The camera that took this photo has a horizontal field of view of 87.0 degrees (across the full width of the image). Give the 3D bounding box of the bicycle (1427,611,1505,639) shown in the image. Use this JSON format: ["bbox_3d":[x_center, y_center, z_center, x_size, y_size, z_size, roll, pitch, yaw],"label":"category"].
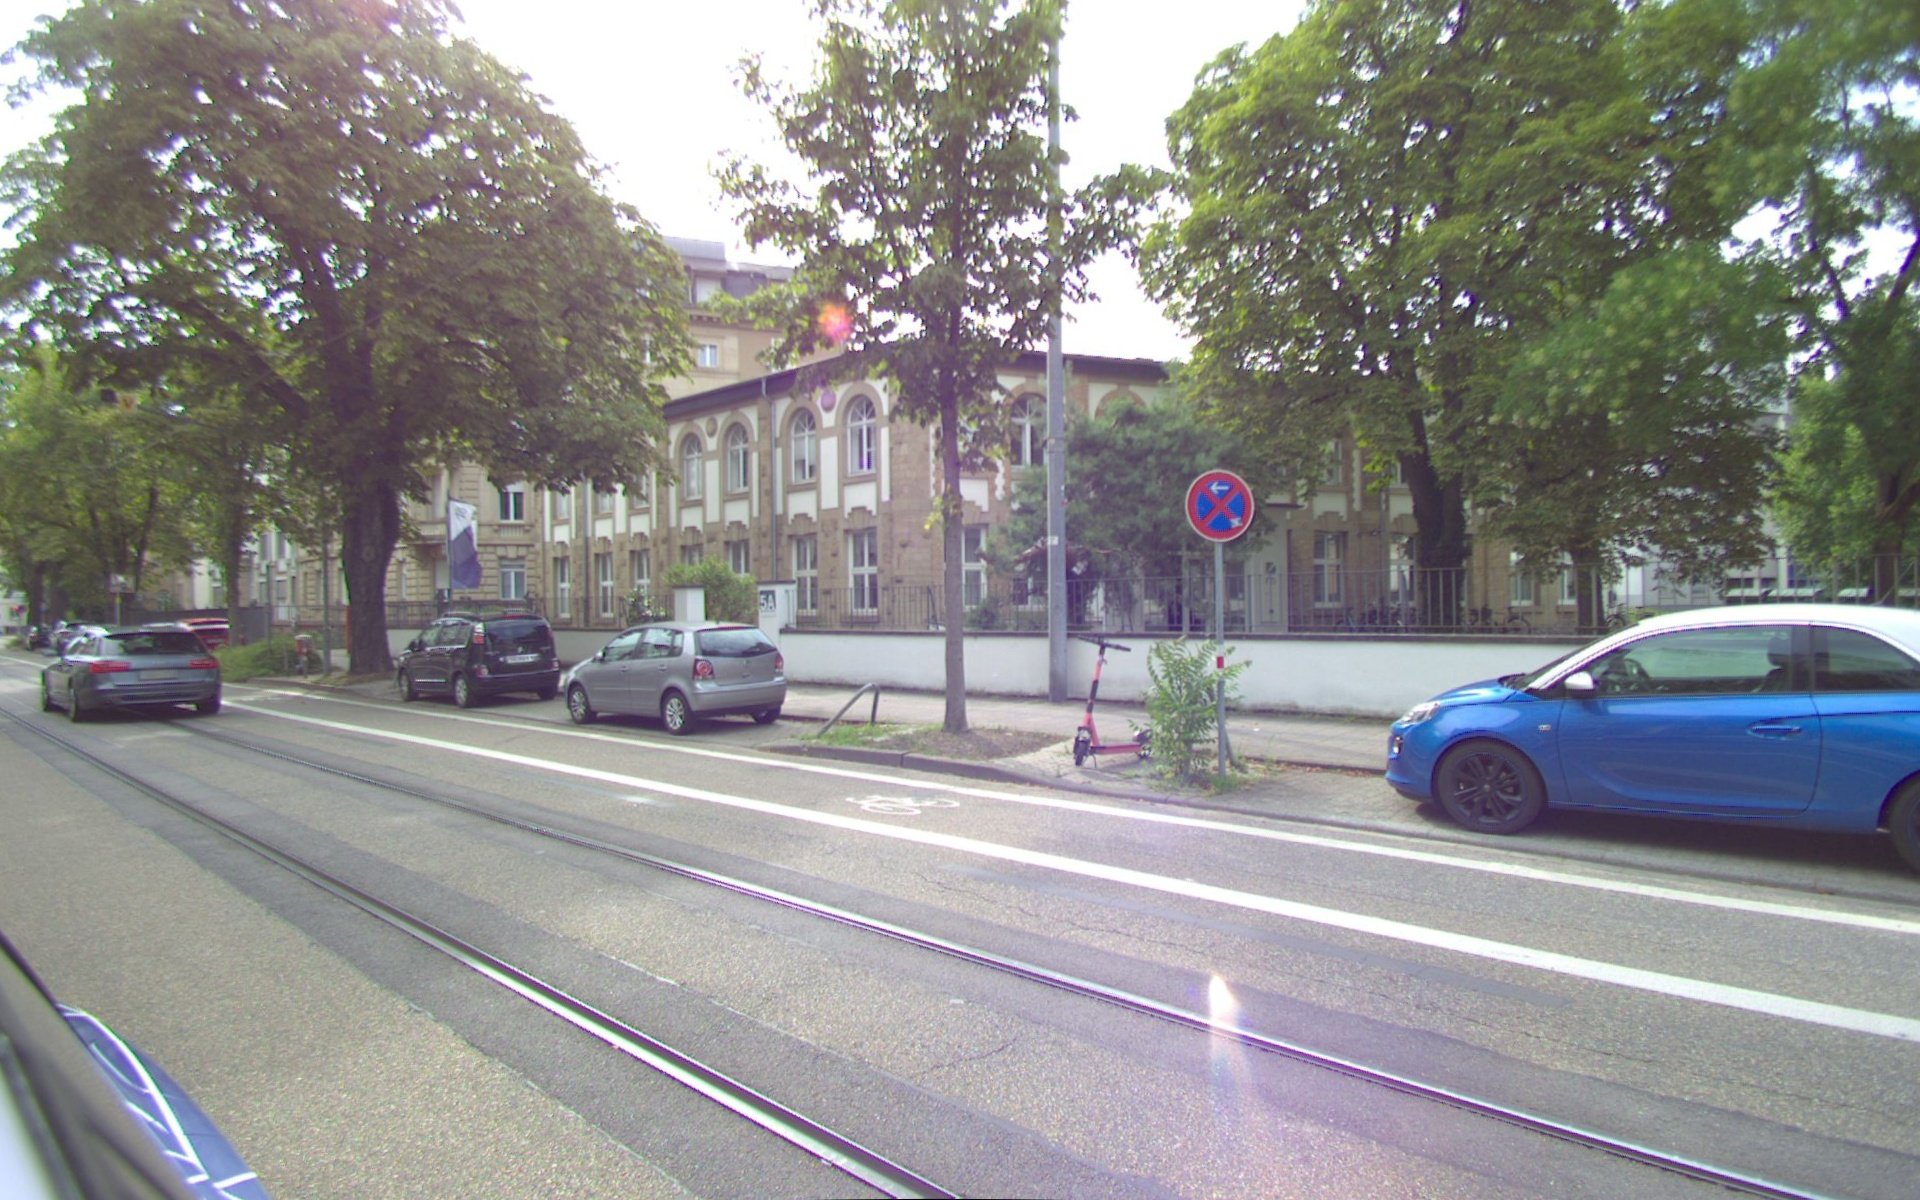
[{"bbox_3d":[15.064,0.742,30.183,0.702,0.779,2.053,-2,0,-28],"label":"bicycle"}]

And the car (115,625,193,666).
[{"bbox_3d":[-32.229,1.787,40.420,4.021,1.434,1.704,-2,1,41],"label":"car"}]

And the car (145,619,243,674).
[{"bbox_3d":[-25.968,1.533,34.261,4.540,1.667,1.704,-2,1,41],"label":"car"}]

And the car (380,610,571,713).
[{"bbox_3d":[-9.060,1.076,18.794,4.050,1.659,1.737,-2,0,41],"label":"car"}]

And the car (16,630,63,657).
[{"bbox_3d":[-54.489,2.533,59.894,4.166,1.435,1.701,-2,1,44],"label":"car"}]

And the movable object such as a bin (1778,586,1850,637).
[{"bbox_3d":[24.242,0.333,28.743,0.954,1.385,1.208,-2,0,-22],"label":"movable object such as a bin"}]

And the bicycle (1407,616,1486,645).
[{"bbox_3d":[14.257,0.881,29.693,0.702,0.779,2.053,-2,0,-28],"label":"bicycle"}]

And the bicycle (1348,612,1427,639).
[{"bbox_3d":[12.173,0.724,28.889,0.702,0.713,2.053,-2,0,-28],"label":"bicycle"}]

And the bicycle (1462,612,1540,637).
[{"bbox_3d":[16.582,0.759,31.055,2.042,0.713,0.706,-2,0,35],"label":"bicycle"}]

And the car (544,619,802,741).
[{"bbox_3d":[-4.155,1.032,14.365,3.866,1.438,1.675,-2,0,41],"label":"car"}]

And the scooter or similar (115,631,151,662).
[{"bbox_3d":[-34.636,1.941,42.373,1.313,1.232,0.559,-1,-1,19],"label":"scooter or similar"}]

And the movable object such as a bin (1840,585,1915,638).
[{"bbox_3d":[24.832,0.313,27.409,0.846,1.385,1.208,-2,0,-22],"label":"movable object such as a bin"}]

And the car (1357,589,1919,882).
[{"bbox_3d":[4.747,0.721,6.567,3.675,1.498,1.675,-2,0,41],"label":"car"}]

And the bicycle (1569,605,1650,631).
[{"bbox_3d":[20.602,0.573,32.147,0.702,0.779,2.053,-2,0,-28],"label":"bicycle"}]

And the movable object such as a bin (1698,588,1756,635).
[{"bbox_3d":[23.448,0.359,30.949,0.954,1.385,1.024,-2,0,-22],"label":"movable object such as a bin"}]

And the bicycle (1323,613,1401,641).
[{"bbox_3d":[11.303,0.750,28.532,0.702,0.713,2.053,-2,0,-28],"label":"bicycle"}]

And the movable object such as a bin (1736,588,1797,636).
[{"bbox_3d":[23.835,0.346,29.925,0.954,1.385,1.024,-2,0,-22],"label":"movable object such as a bin"}]

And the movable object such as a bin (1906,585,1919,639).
[{"bbox_3d":[25.259,0.299,26.017,0.846,1.385,1.097,-2,0,-22],"label":"movable object such as a bin"}]

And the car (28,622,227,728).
[{"bbox_3d":[-13.734,1.131,16.592,4.551,1.459,1.815,-2,-1,41],"label":"car"}]

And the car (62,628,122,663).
[{"bbox_3d":[-40.170,2.085,46.800,4.077,1.479,1.584,-2,-1,42],"label":"car"}]

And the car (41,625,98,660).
[{"bbox_3d":[-45.771,2.160,51.995,4.355,1.686,1.692,-2,-1,42],"label":"car"}]

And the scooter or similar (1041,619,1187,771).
[{"bbox_3d":[1.507,0.863,9.796,0.700,1.354,1.427,-2,-2,43],"label":"scooter or similar"}]
